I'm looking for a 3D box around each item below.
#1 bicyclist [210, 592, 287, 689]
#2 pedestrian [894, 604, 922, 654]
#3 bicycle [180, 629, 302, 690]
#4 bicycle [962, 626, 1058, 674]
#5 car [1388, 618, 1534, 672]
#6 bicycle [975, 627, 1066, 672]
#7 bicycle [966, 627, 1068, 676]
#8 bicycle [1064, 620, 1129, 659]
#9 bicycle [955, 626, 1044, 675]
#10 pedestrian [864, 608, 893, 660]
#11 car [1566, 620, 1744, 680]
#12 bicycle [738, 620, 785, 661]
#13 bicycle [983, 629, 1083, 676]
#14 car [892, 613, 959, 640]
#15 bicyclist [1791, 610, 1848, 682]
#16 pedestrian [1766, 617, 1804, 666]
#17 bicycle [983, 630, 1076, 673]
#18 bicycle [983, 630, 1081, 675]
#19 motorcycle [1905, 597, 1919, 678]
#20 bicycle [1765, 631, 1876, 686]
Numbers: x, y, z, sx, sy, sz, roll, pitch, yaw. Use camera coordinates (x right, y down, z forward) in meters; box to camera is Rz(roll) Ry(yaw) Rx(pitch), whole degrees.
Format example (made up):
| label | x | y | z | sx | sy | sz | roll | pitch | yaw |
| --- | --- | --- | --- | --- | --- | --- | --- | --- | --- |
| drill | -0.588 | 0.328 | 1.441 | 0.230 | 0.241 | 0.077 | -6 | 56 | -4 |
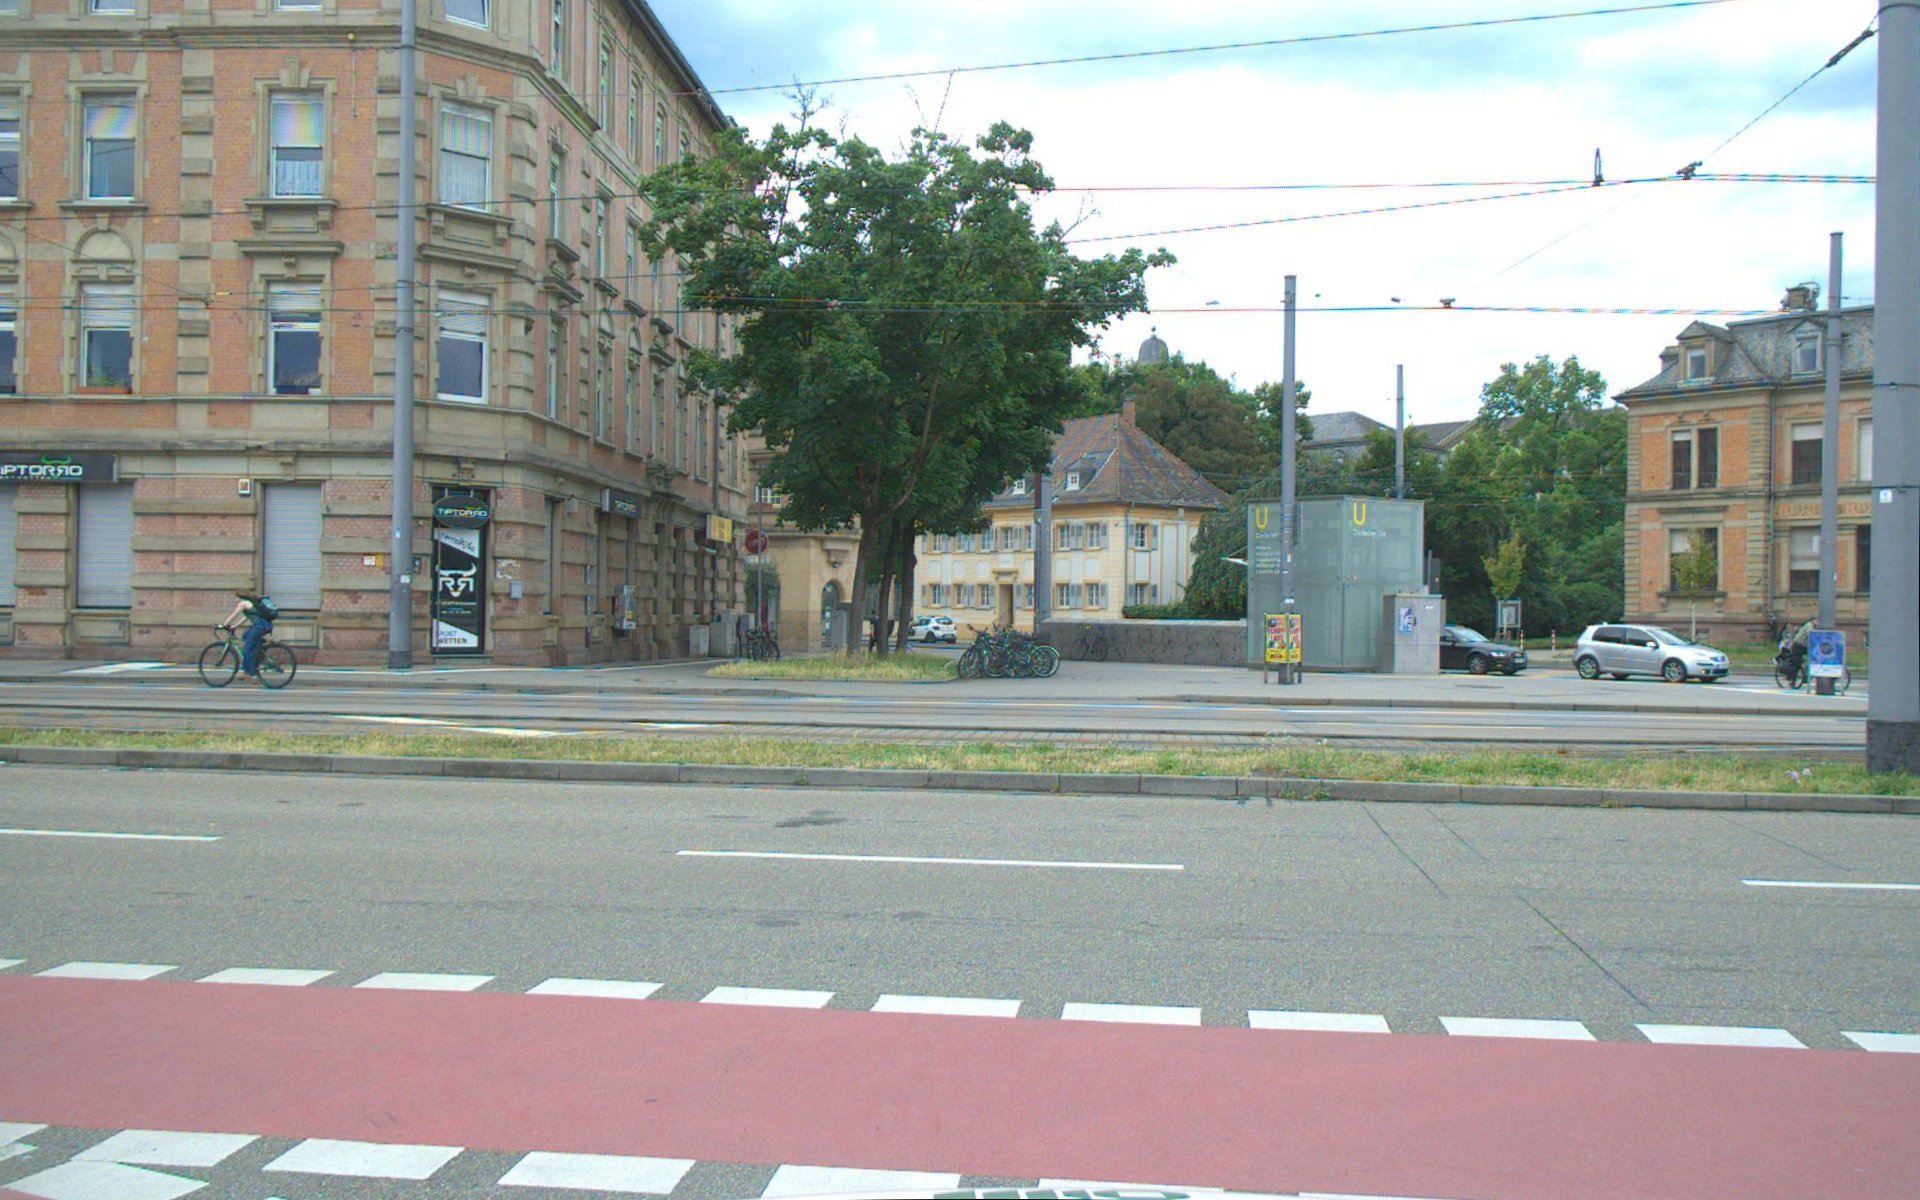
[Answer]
| label | x | y | z | sx | sy | sz | roll | pitch | yaw |
| --- | --- | --- | --- | --- | --- | --- | --- | --- | --- |
| bicyclist | -11.379 | 0.639 | 26.461 | 0.920 | 1.520 | 0.663 | 0 | 0 | 0 |
| pedestrian | -1.815 | 1.013 | 58.092 | 0.826 | 1.753 | 0.953 | 0 | 0 | 7 |
| bicycle | -11.492 | 0.949 | 26.471 | 1.679 | 0.931 | 0.607 | 0 | 0 | 0 |
| bicycle | 1.082 | 1.073 | 35.693 | 1.988 | 1.004 | 0.522 | 0 | 0 | 14 |
| car | 14.745 | 1.300 | 48.896 | 1.674 | 1.474 | 4.100 | 0 | 0 | -31 |
| bicycle | 1.497 | 1.218 | 41.143 | 2.166 | 1.057 | 0.689 | 0 | 0 | 14 |
| bicycle | 1.253 | 1.116 | 36.233 | 2.166 | 1.024 | 0.480 | 0 | 0 | 14 |
| bicycle | 4.152 | 1.202 | 50.504 | 0.731 | 1.134 | 2.336 | 1 | 0 | -33 |
| bicycle | 0.840 | 1.053 | 34.970 | 1.823 | 1.004 | 0.500 | 0 | -1 | 12 |
| pedestrian | -2.808 | 1.146 | 56.766 | 0.826 | 1.753 | 0.953 | 0 | 0 | 7 |
| car | 18.490 | 1.287 | 44.156 | 1.741 | 1.479 | 4.110 | 1 | 0 | -35 |
| bicycle | -4.784 | 0.964 | 40.036 | 0.646 | 0.930 | 1.991 | 0 | 0 | 8 |
| bicycle | 1.630 | 1.156 | 36.942 | 2.166 | 1.004 | 0.500 | 0 | 0 | 14 |
| car | -2.001 | 1.507 | 94.017 | 1.680 | 1.474 | 4.129 | 1 | 0 | -39 |
| bicyclist | 20.071 | 1.058 | 38.607 | 0.845 | 1.651 | 0.906 | 2 | -1 | -36 |
| pedestrian | 30.430 | 1.519 | 61.006 | 1.107 | 1.794 | 0.753 | 0 | -1 | 42 |
| bicycle | 1.666 | 1.231 | 39.869 | 2.166 | 1.004 | 0.585 | 0 | 0 | 14 |
| bicycle | 1.666 | 1.202 | 38.217 | 2.166 | 1.004 | 0.611 | 0 | 0 | 14 |
| motorcycle | 25.621 | 0.950 | 40.843 | 1.678 | 2.049 | 3.639 | 1 | 0 | -37 |
| bicycle | 20.060 | 1.359 | 38.604 | 0.847 | 1.229 | 2.170 | 2 | -1 | -35 |
